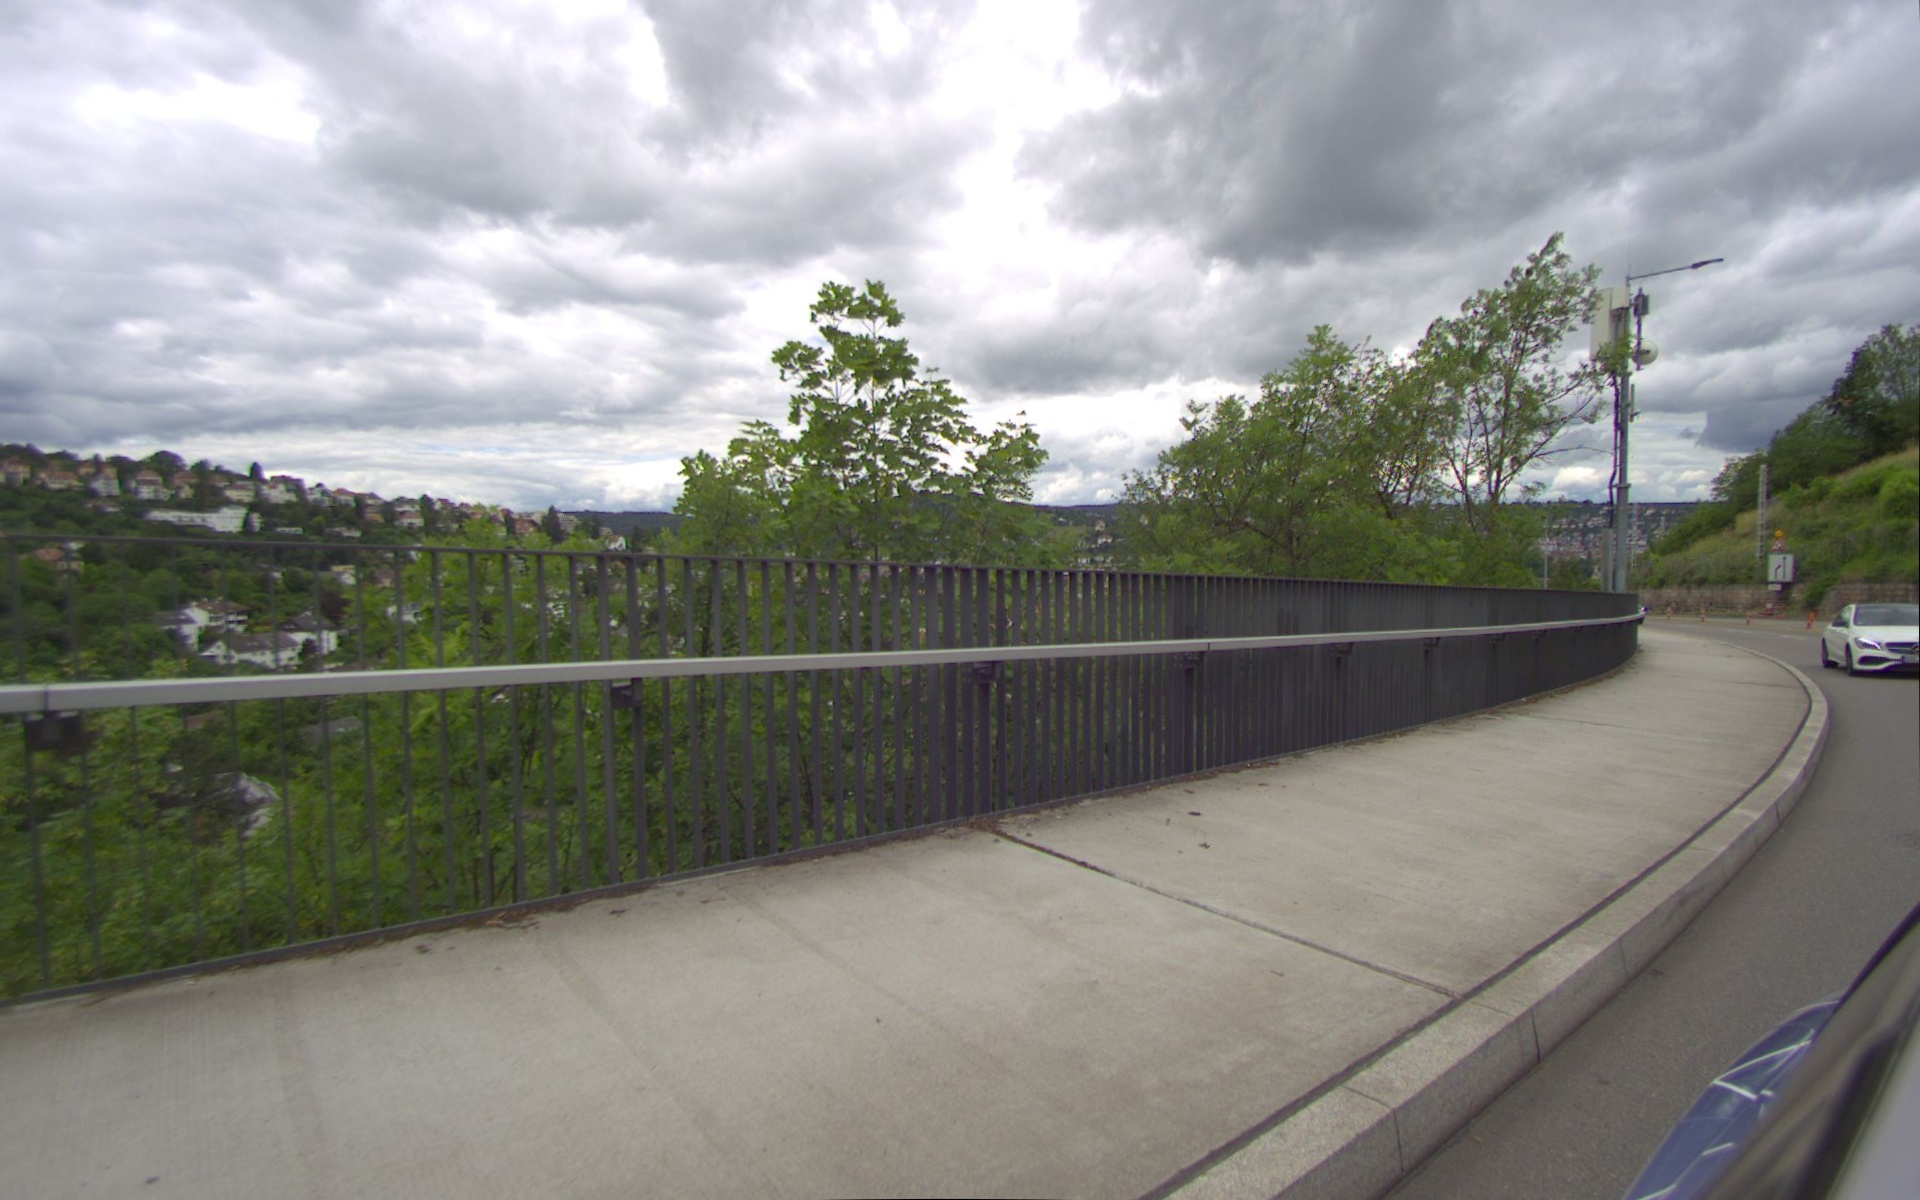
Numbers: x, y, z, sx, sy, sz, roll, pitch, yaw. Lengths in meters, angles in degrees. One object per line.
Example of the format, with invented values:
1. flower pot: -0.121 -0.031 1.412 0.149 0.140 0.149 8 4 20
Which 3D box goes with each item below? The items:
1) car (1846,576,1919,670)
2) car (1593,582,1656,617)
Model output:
1. car: 19.109 0.428 20.195 1.993 1.740 3.937 -1 -1 43
2. car: 33.957 -0.039 51.835 1.978 1.692 4.500 1 0 24
